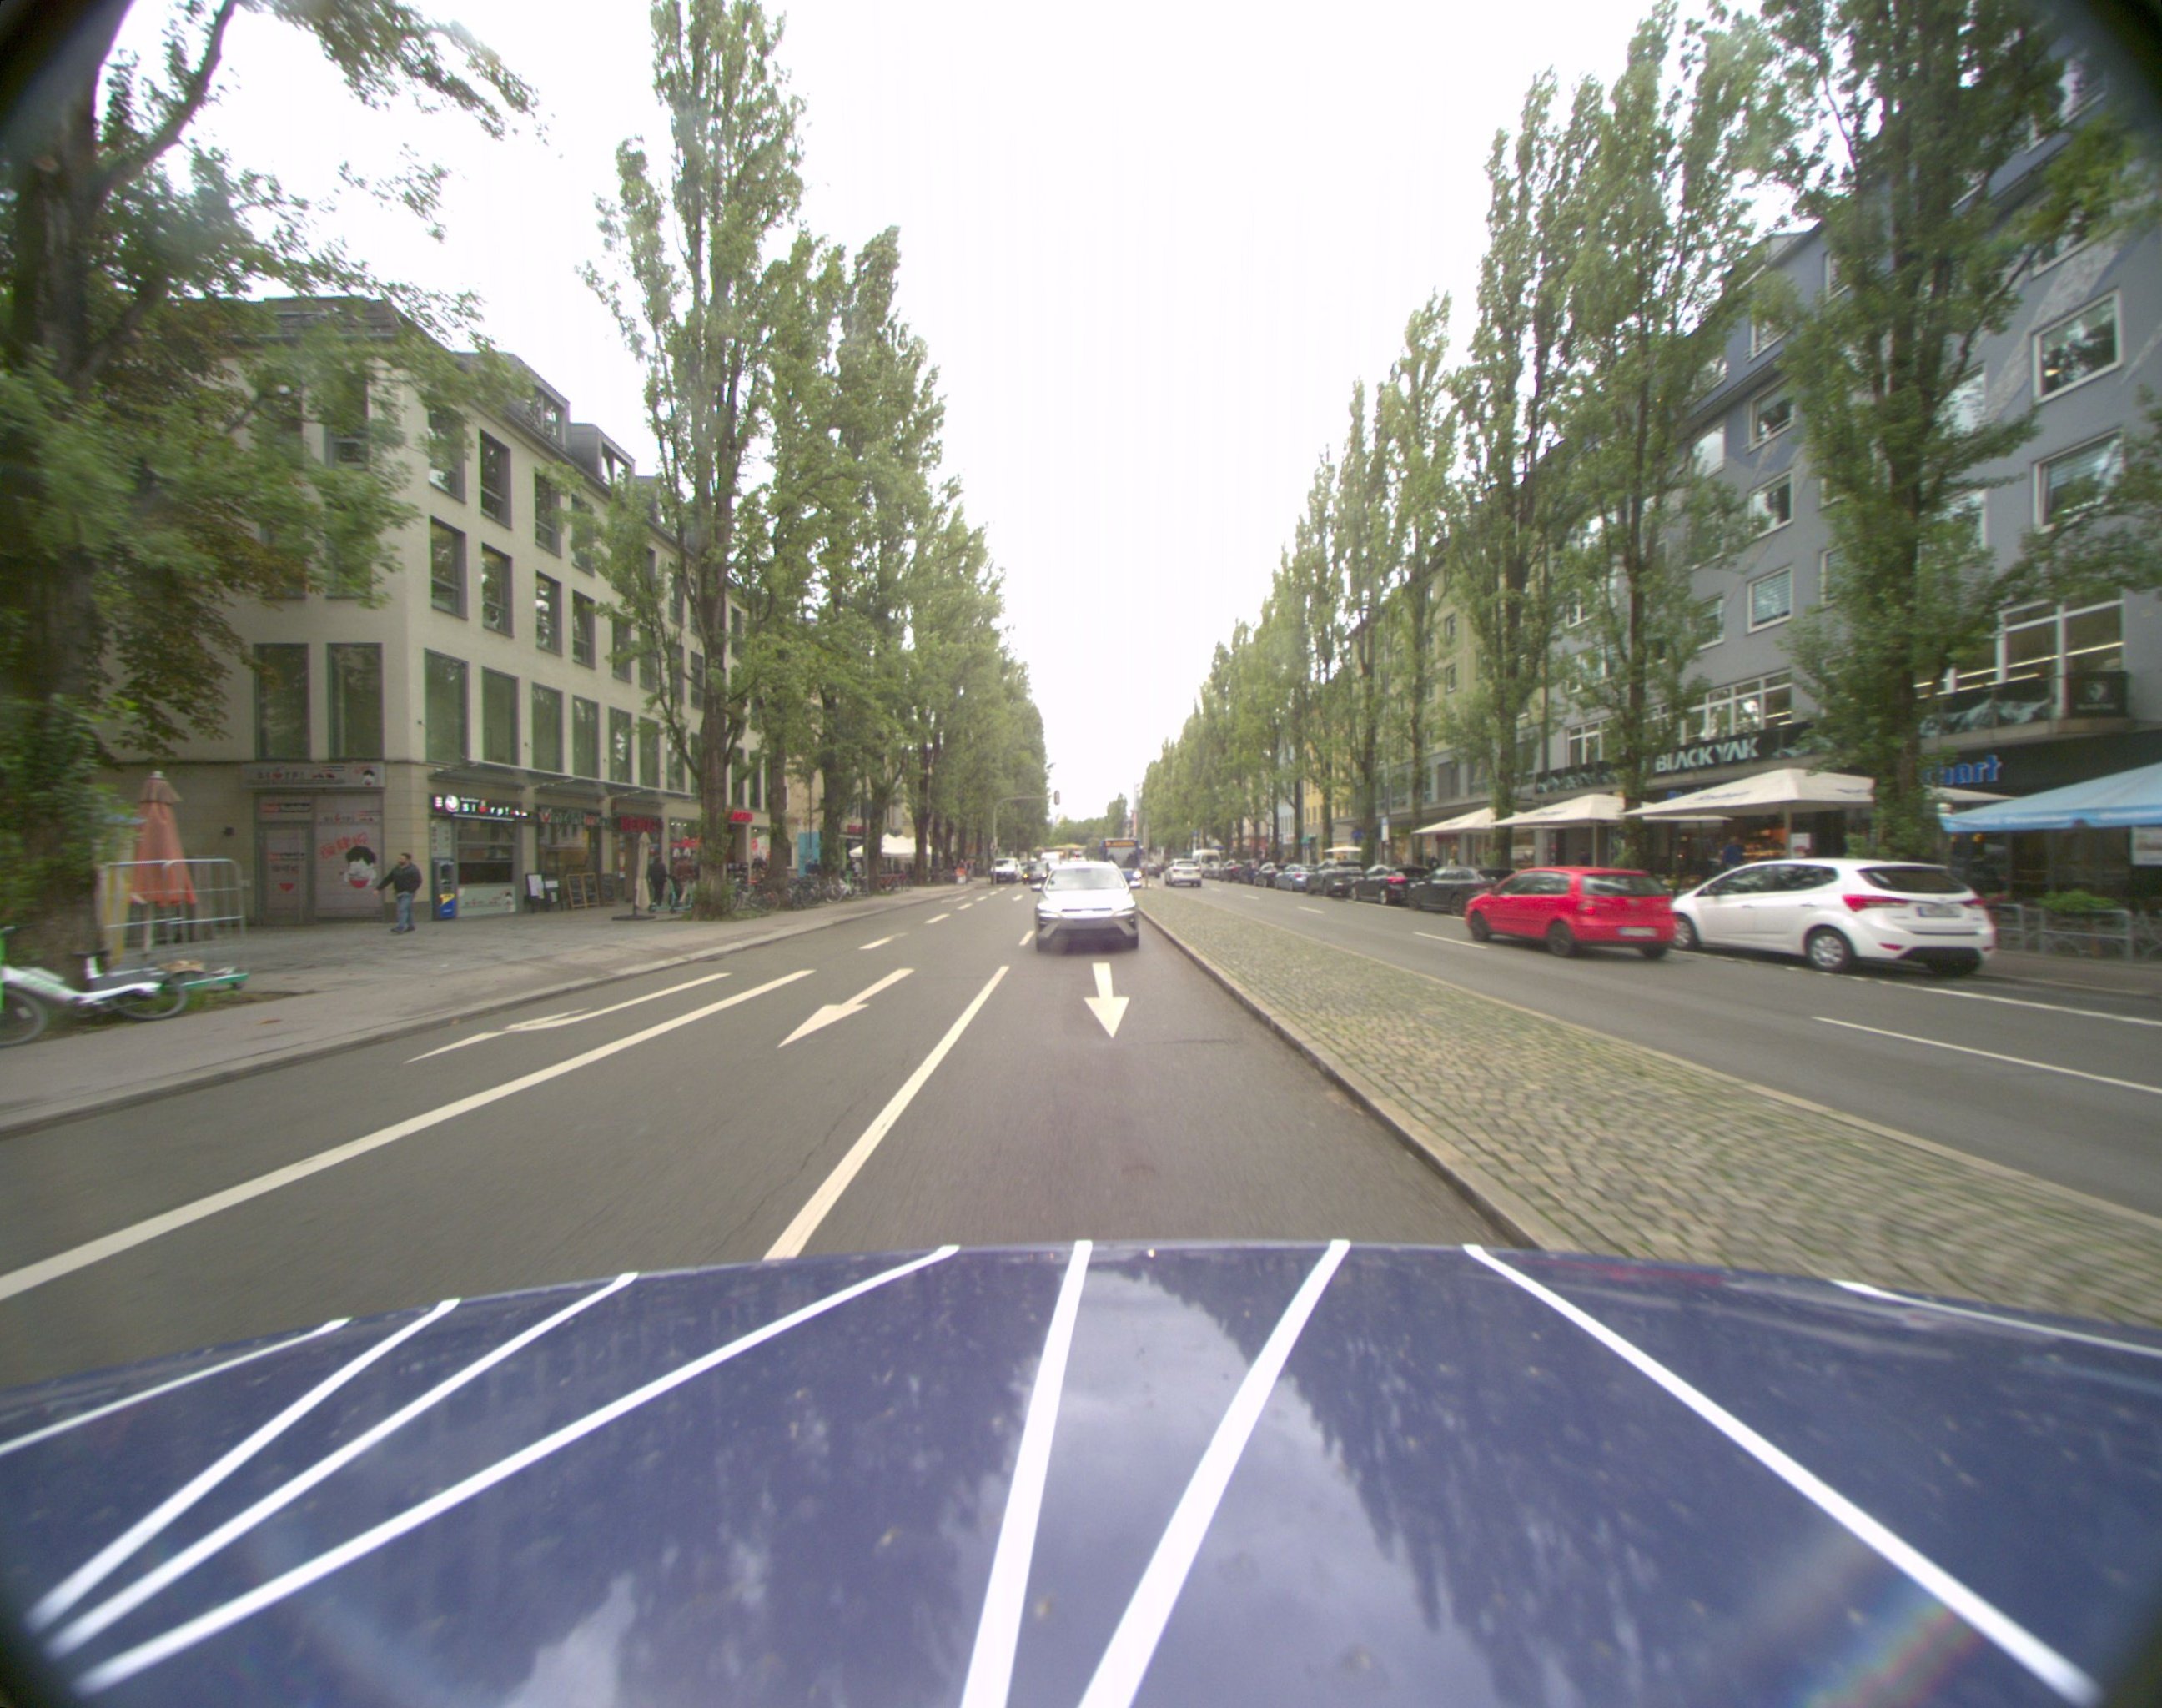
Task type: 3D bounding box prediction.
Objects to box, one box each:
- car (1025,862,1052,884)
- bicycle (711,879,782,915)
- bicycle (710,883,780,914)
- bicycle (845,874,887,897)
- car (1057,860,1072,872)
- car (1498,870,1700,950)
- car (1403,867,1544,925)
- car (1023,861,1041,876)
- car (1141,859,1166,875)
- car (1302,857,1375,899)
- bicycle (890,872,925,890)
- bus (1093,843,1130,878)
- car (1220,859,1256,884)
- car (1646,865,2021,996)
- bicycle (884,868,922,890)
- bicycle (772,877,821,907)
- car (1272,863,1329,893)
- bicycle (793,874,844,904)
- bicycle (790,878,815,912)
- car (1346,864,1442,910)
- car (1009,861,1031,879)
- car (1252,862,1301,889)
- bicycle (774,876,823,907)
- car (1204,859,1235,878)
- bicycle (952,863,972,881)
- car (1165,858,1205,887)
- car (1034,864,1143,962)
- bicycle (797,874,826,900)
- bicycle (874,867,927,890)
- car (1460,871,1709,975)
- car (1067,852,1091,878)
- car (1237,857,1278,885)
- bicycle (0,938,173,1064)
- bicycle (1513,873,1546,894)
[{"bbox_3d":[-3.079,1.372,55.687,1.758,1.529,3.916,-2,0,0],"label":"car"},{"bbox_3d":[-10.436,1.334,23.761,2.006,1.077,0.285,0,0,-16],"label":"bicycle"},{"bbox_3d":[-10.614,1.401,24.061,2.006,0.939,0.285,-1,1,-15],"label":"bicycle"},{"bbox_3d":[-9.816,1.448,34.709,1.842,1.003,0.393,1,0,9],"label":"bicycle"},{"bbox_3d":[-2.136,1.531,98.309,1.758,1.529,3.916,-2,0,0],"label":"car"},{"bbox_3d":[10.907,1.102,16.408,1.497,1.373,4.186,1,0,0],"label":"car"},{"bbox_3d":[11.197,1.126,22.085,1.707,1.404,4.433,1,0,-1],"label":"car"},{"bbox_3d":[-4.843,1.435,75.982,1.476,1.518,3.603,-1,0,1],"label":"car"},{"bbox_3d":[6.556,1.175,69.161,1.841,1.353,4.176,2,0,1],"label":"car"},{"bbox_3d":[11.306,1.006,33.723,1.784,1.670,4.586,1,0,2],"label":"car"},{"bbox_3d":[-9.726,1.511,42.523,1.844,1.003,0.503,0,0,0],"label":"bicycle"},{"bbox_3d":[2.566,0.569,68.302,2.806,2.886,12.857,0,0,0],"label":"bus"},{"bbox_3d":[11.368,1.242,55.222,1.707,1.623,4.503,1,0,0],"label":"car"},{"bbox_3d":[11.091,1.002,11.708,1.707,1.574,4.096,1,0,1],"label":"car"},{"bbox_3d":[-9.747,1.377,41.609,1.902,1.120,0.686,-1,1,0],"label":"bicycle"},{"bbox_3d":[-10.550,1.402,28.206,1.679,1.110,0.286,0,0,-12],"label":"bicycle"},{"bbox_3d":[11.306,1.194,39.499,1.662,1.409,4.400,1,0,0],"label":"car"},{"bbox_3d":[-10.248,1.355,29.686,1.871,1.128,0.339,0,0,-8],"label":"bicycle"},{"bbox_3d":[-9.632,1.397,26.333,0.435,1.055,2.003,0,0,-10],"label":"bicycle"},{"bbox_3d":[11.218,1.132,27.590,1.681,1.458,4.370,1,0,0],"label":"car"},{"bbox_3d":[-5.091,1.332,63.434,1.476,1.388,3.483,0,0,1],"label":"car"},{"bbox_3d":[11.402,1.201,44.561,1.707,1.438,4.585,0,0,0],"label":"car"},{"bbox_3d":[-10.621,1.401,28.591,1.666,1.100,0.396,0,0,-11],"label":"bicycle"},{"bbox_3d":[11.608,1.210,64.050,1.707,1.520,4.260,1,0,-1],"label":"car"},{"bbox_3d":[-9.635,1.477,61.337,0.829,1.403,2.594,-1,0,-26],"label":"bicycle"},{"bbox_3d":[6.272,1.084,46.357,1.848,1.626,4.576,1,0,1],"label":"car"},{"bbox_3d":[0.114,0.990,14.279,1.758,1.529,3.916,-1,0,0],"label":"car"},{"bbox_3d":[-11.758,1.435,33.200,0.392,1.057,2.006,1,0,4],"label":"bicycle"},{"bbox_3d":[-9.592,1.304,40.489,2.577,1.208,0.965,0,0,0],"label":"bicycle"},{"bbox_3d":[8.331,1.058,13.038,1.741,1.429,3.823,0,0,0],"label":"car"},{"bbox_3d":[-0.220,0.980,68.282,2.025,2.235,4.411,-2,0,0],"label":"car"},{"bbox_3d":[11.627,1.078,50.208,1.622,1.677,3.770,2,0,-2],"label":"car"},{"bbox_3d":[-9.944,1.389,7.199,0.510,0.970,1.770,5,0,-1],"label":"bicycle"},{"bbox_3d":[21.237,1.386,36.012,0.480,0.966,1.850,-1,0,1],"label":"bicycle"}]
